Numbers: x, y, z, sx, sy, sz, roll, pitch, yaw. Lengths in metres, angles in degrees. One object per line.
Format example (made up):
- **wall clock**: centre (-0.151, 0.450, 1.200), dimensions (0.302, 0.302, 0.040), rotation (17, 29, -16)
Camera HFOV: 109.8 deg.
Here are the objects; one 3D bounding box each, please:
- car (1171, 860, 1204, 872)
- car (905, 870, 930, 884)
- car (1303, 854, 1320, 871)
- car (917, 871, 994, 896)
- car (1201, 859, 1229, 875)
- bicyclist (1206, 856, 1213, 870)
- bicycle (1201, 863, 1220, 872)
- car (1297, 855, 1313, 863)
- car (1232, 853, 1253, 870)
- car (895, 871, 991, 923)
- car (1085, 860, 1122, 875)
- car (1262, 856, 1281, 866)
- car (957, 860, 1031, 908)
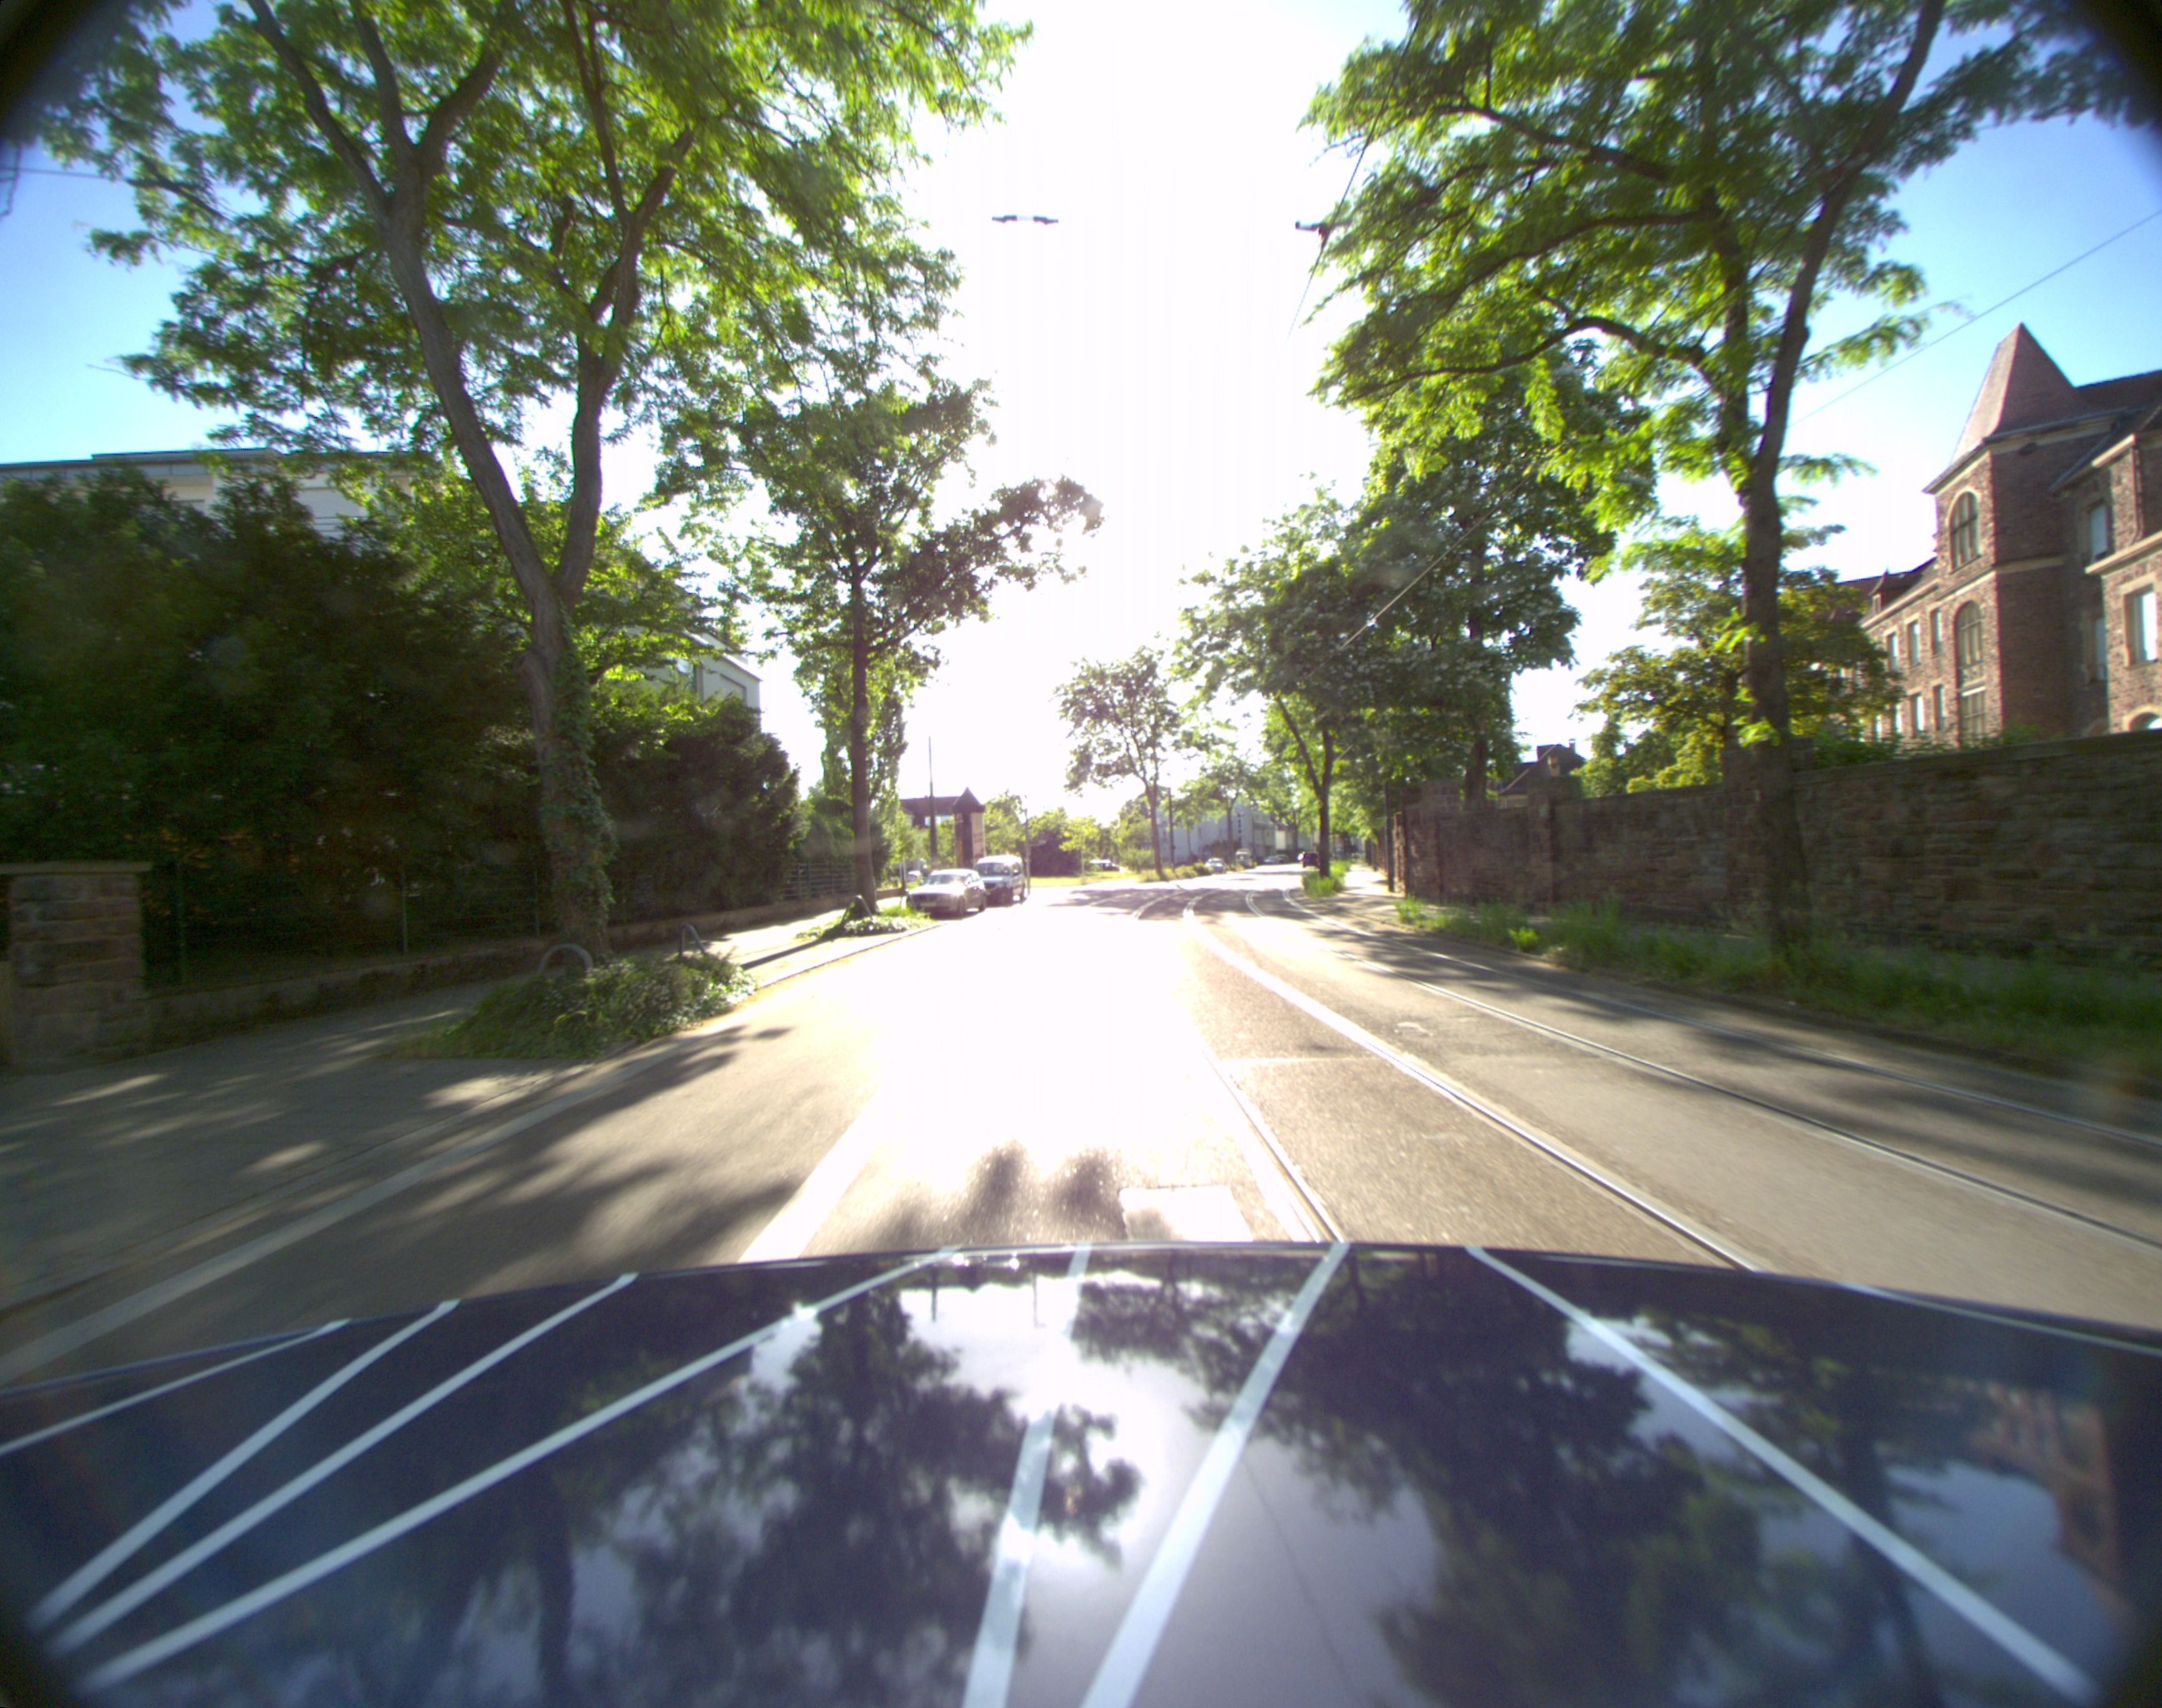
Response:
- **car**: centre (15.077, 1.704, 107.912), dimensions (4.459, 1.482, 2.008), rotation (-2, 3, 2)
- **car**: centre (-21.822, 3.038, 101.577), dimensions (1.997, 1.786, 4.002), rotation (-2, 0, 7)
- **car**: centre (26.585, 0.974, 87.636), dimensions (1.635, 1.781, 4.344), rotation (-2, -1, 19)
- **car**: centre (-8.040, 1.870, 49.024), dimensions (4.521, 1.361, 1.969), rotation (-2, 0, 2)
- **car**: centre (13.860, 1.340, 78.236), dimensions (2.002, 1.457, 5.440), rotation (1, 1, 19)
- **bicyclist**: centre (18.642, 1.285, 110.020), dimensions (0.849, 2.001, 0.827), rotation (-2, 0, 9)
- **bicycle**: centre (18.784, 1.919, 109.942), dimensions (2.660, 1.224, 0.800), rotation (-2, 0, 7)
- **car**: centre (42.600, 0.937, 144.296), dimensions (1.877, 1.509, 4.657), rotation (-3, 0, 28)
- **car**: centre (20.292, 0.947, 95.419), dimensions (1.996, 2.083, 4.723), rotation (-2, -1, 18)
- **car**: centre (-4.393, 1.336, 24.904), dimensions (1.998, 1.414, 4.333), rotation (-2, 0, 4)
- **car**: centre (3.187, 1.926, 108.088), dimensions (5.208, 1.873, 2.100), rotation (-3, 0, 2)
- **car**: centre (31.134, 1.190, 124.070), dimensions (1.739, 1.486, 4.538), rotation (-3, 0, 29)
- **car**: centre (-3.427, 1.146, 30.836), dimensions (2.027, 1.736, 4.754), rotation (-2, -1, 5)
